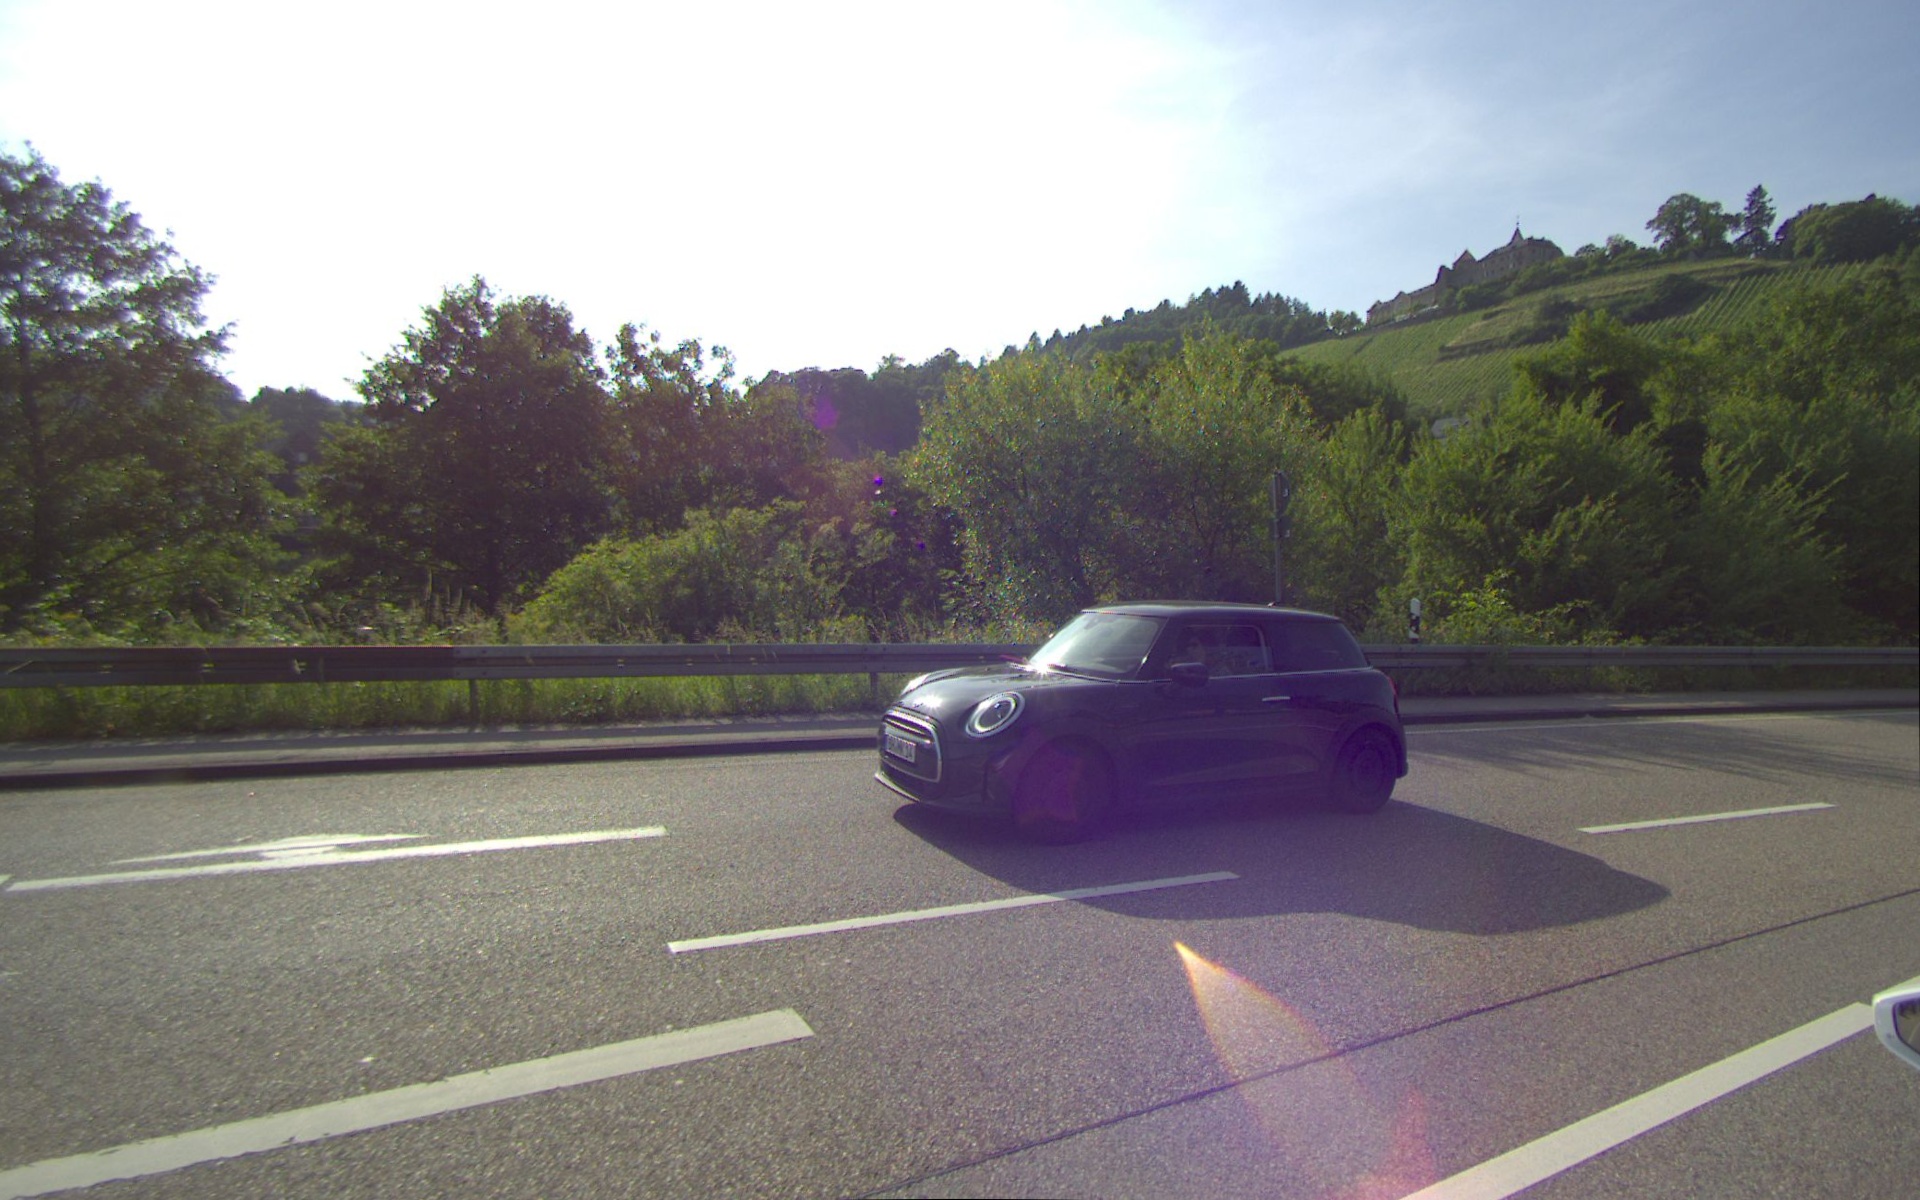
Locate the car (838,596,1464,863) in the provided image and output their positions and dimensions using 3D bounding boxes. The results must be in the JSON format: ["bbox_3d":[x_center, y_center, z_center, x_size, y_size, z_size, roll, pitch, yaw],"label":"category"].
[{"bbox_3d":[1.389,0.722,7.068,4.146,1.421,1.688,1,0,-26],"label":"car"}]
